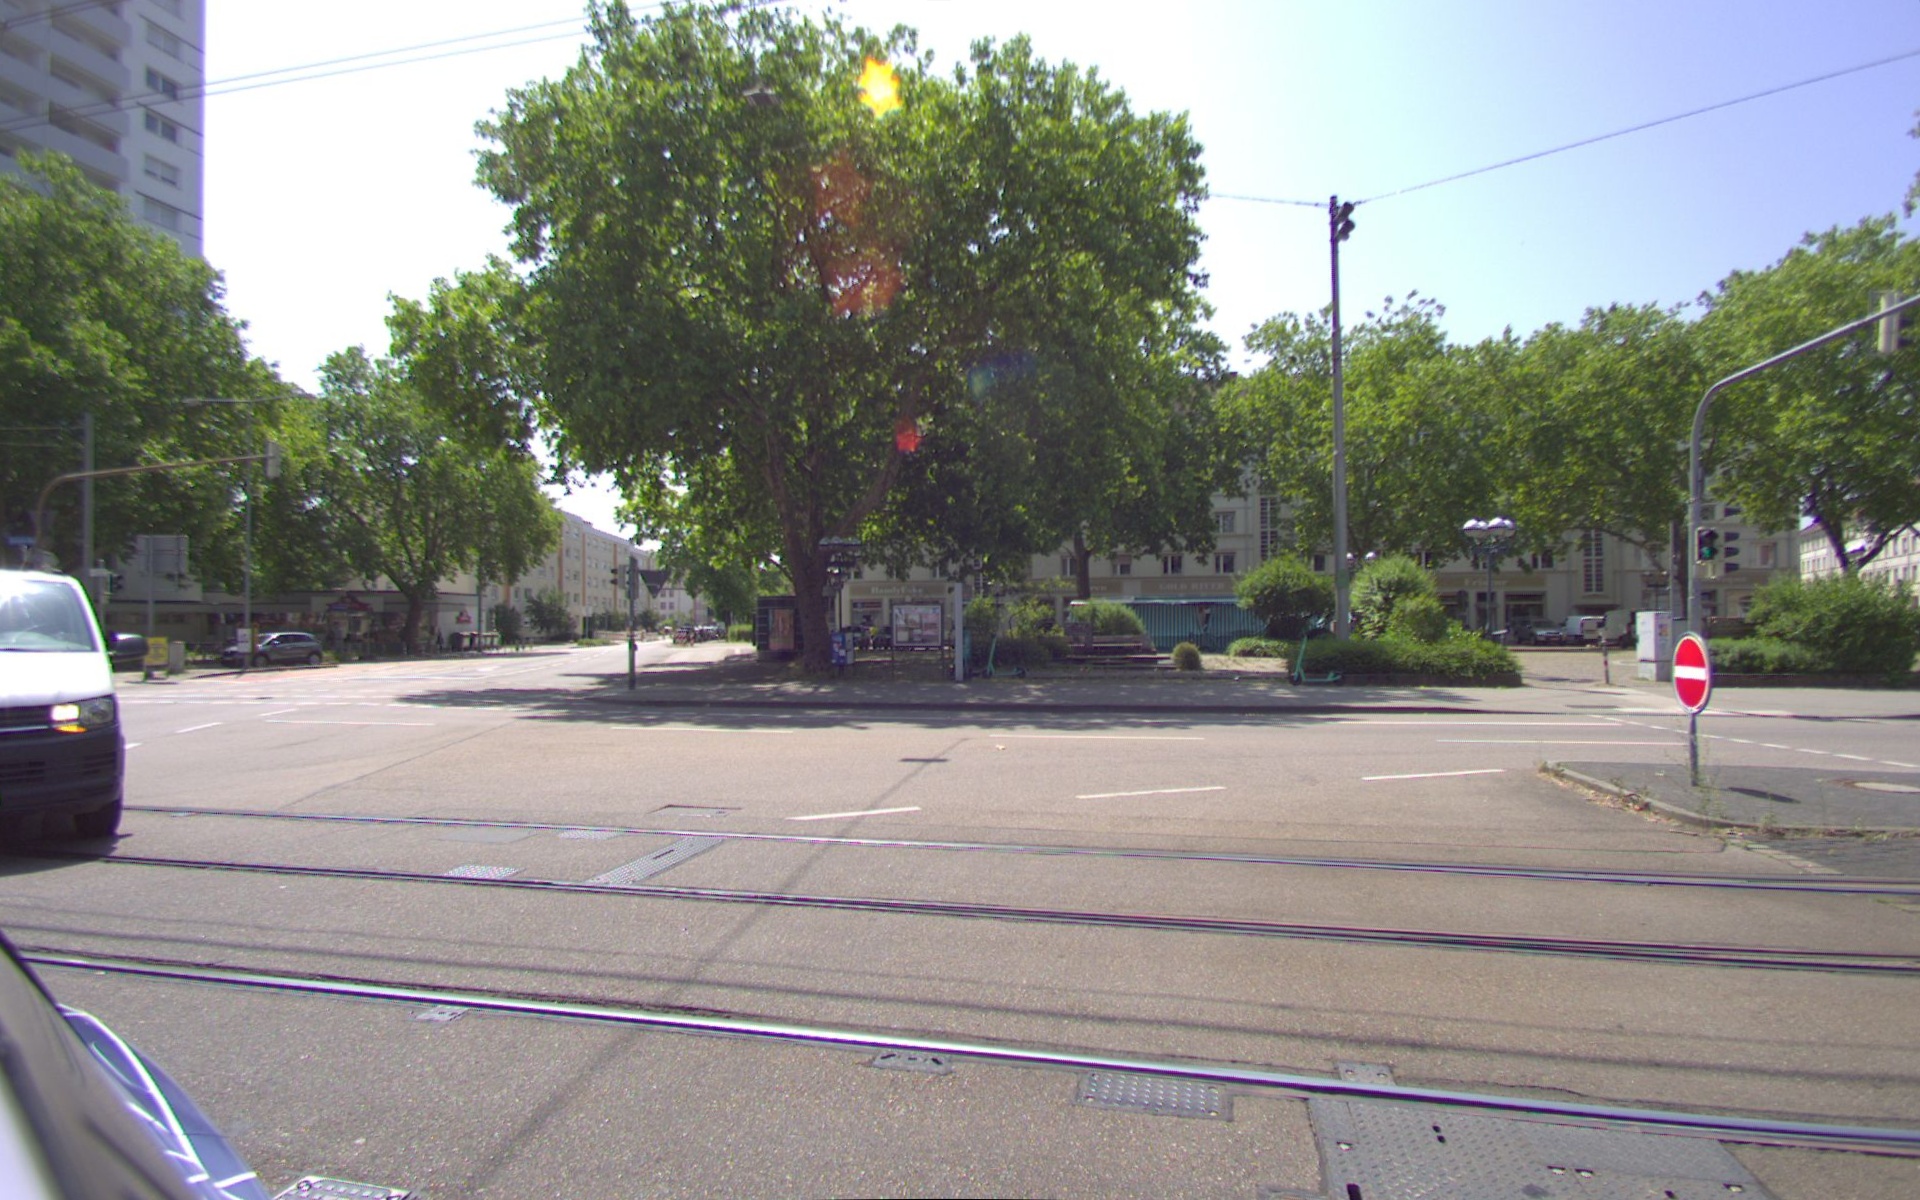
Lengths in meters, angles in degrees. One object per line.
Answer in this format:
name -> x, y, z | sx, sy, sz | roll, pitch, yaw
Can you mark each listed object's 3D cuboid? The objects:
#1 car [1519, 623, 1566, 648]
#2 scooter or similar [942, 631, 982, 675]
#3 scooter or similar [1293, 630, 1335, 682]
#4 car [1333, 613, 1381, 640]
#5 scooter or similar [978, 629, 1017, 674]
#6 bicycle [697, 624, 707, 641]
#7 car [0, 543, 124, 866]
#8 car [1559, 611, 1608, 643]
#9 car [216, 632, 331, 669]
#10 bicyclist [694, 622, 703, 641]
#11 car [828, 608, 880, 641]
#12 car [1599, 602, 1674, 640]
car -> 37.659, 2.271, 65.535 | 1.607, 1.420, 3.908 | -1, 0, 15
scooter or similar -> 0.058, 1.393, 26.522 | 1.030, 1.129, 0.255 | -1, -1, 24
scooter or similar -> 7.873, 1.243, 22.498 | 0.855, 1.129, 0.255 | -1, 0, 24
car -> 17.272, 1.142, 44.066 | 1.342, 1.106, 2.731 | -1, 0, 8
scooter or similar -> 0.971, 1.320, 25.985 | 0.971, 1.129, 0.255 | -1, 0, 24
bicycle -> -24.114, 3.004, 94.525 | 0.588, 1.566, 1.845 | -1, 0, -4
car -> -7.755, 0.691, 7.790 | 1.825, 1.968, 4.949 | 0, -2, -42
car -> 40.237, 1.705, 65.422 | 1.559, 1.964, 3.908 | -1, 0, 15
car -> -31.120, 2.250, 46.023 | 1.930, 1.472, 4.036 | -1, 0, 17
bicyclist -> -24.175, 2.898, 93.592 | 0.695, 1.748, 0.788 | -1, 0, -4
car -> -6.699, 1.524, 64.363 | 1.982, 2.029, 3.980 | -1, 0, 15
car -> 36.735, 1.121, 55.046 | 2.145, 1.964, 3.981 | -1, 0, 15
